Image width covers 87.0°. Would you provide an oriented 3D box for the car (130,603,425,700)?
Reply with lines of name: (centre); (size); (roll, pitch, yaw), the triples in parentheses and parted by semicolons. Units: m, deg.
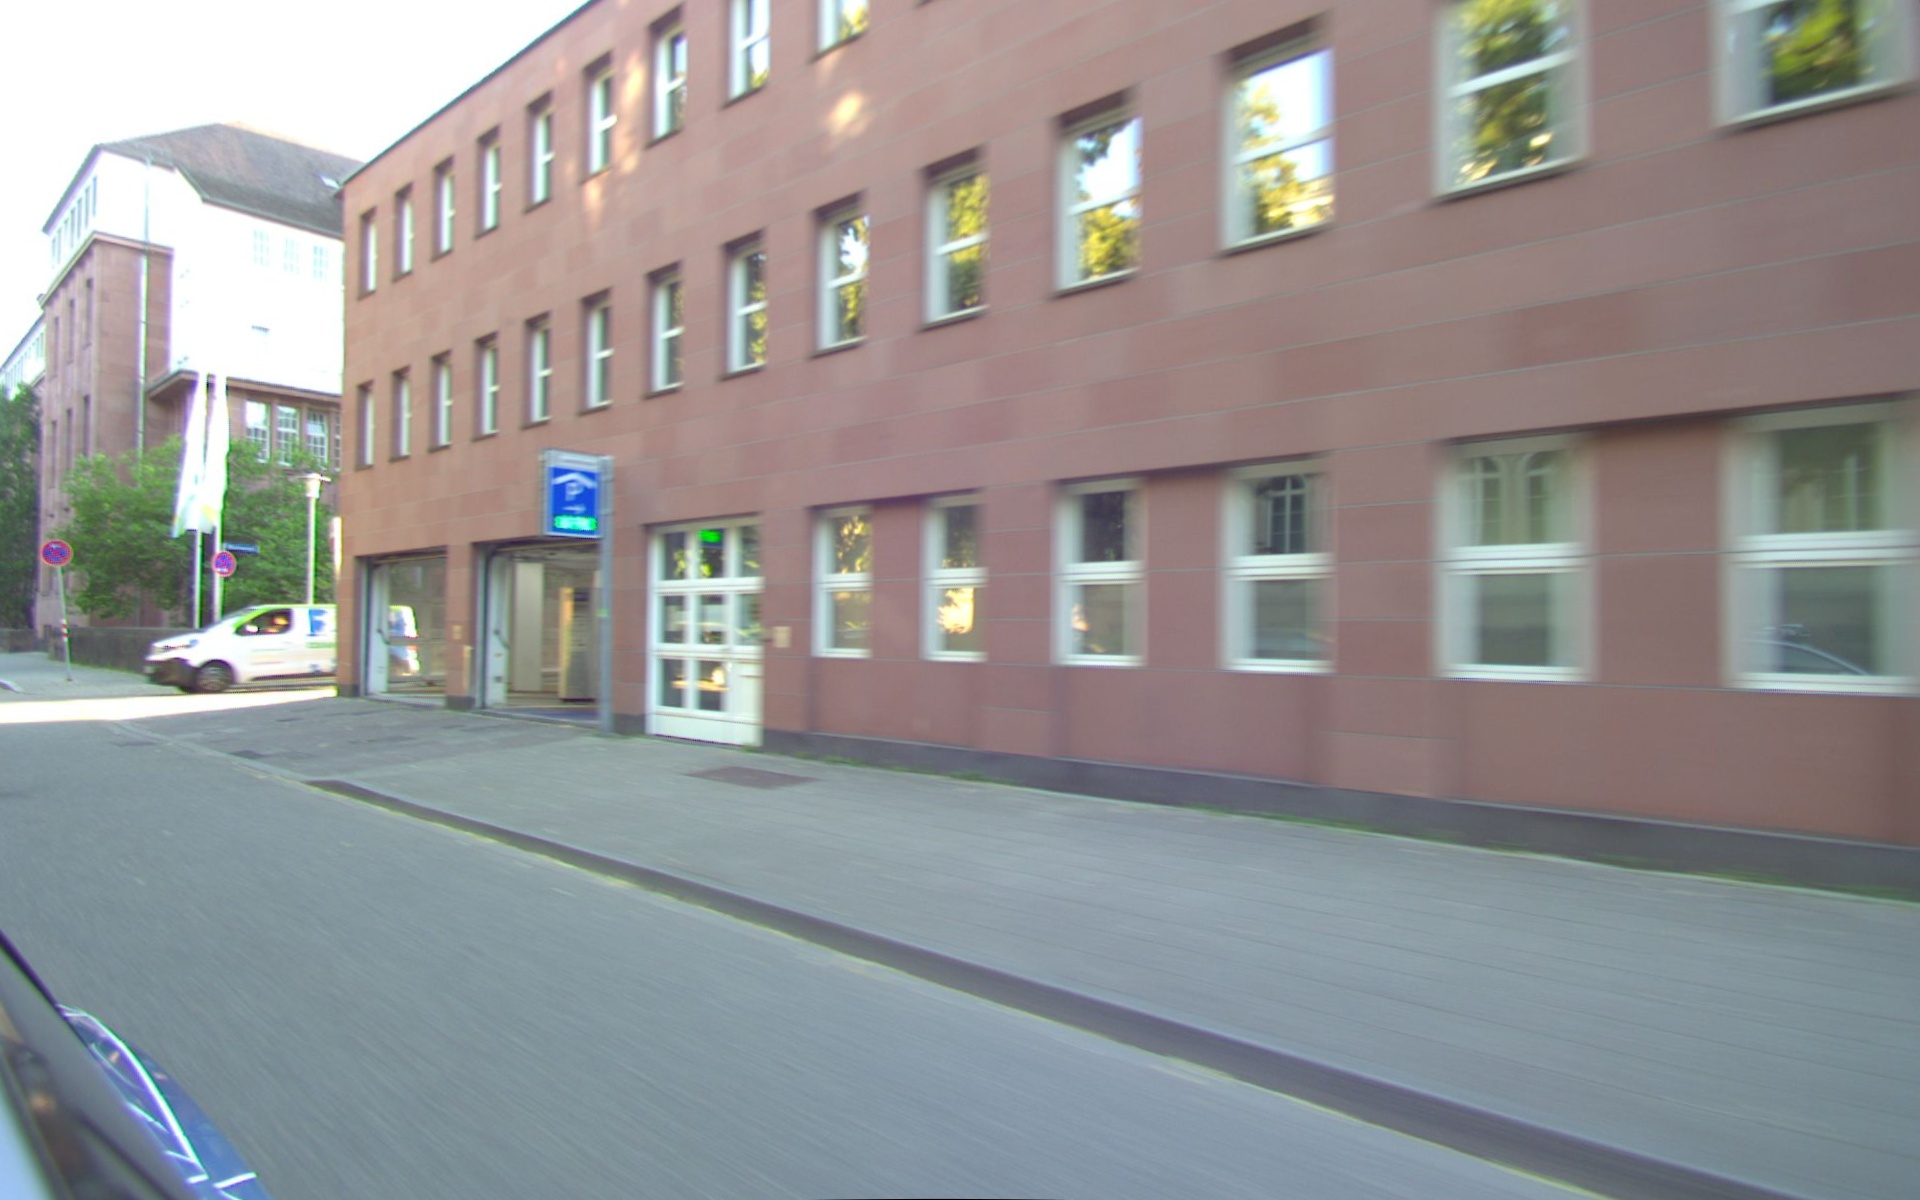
car: (-14.864, 1.098, 22.331); (1.998, 1.889, 5.041); (-4, -4, 39)
